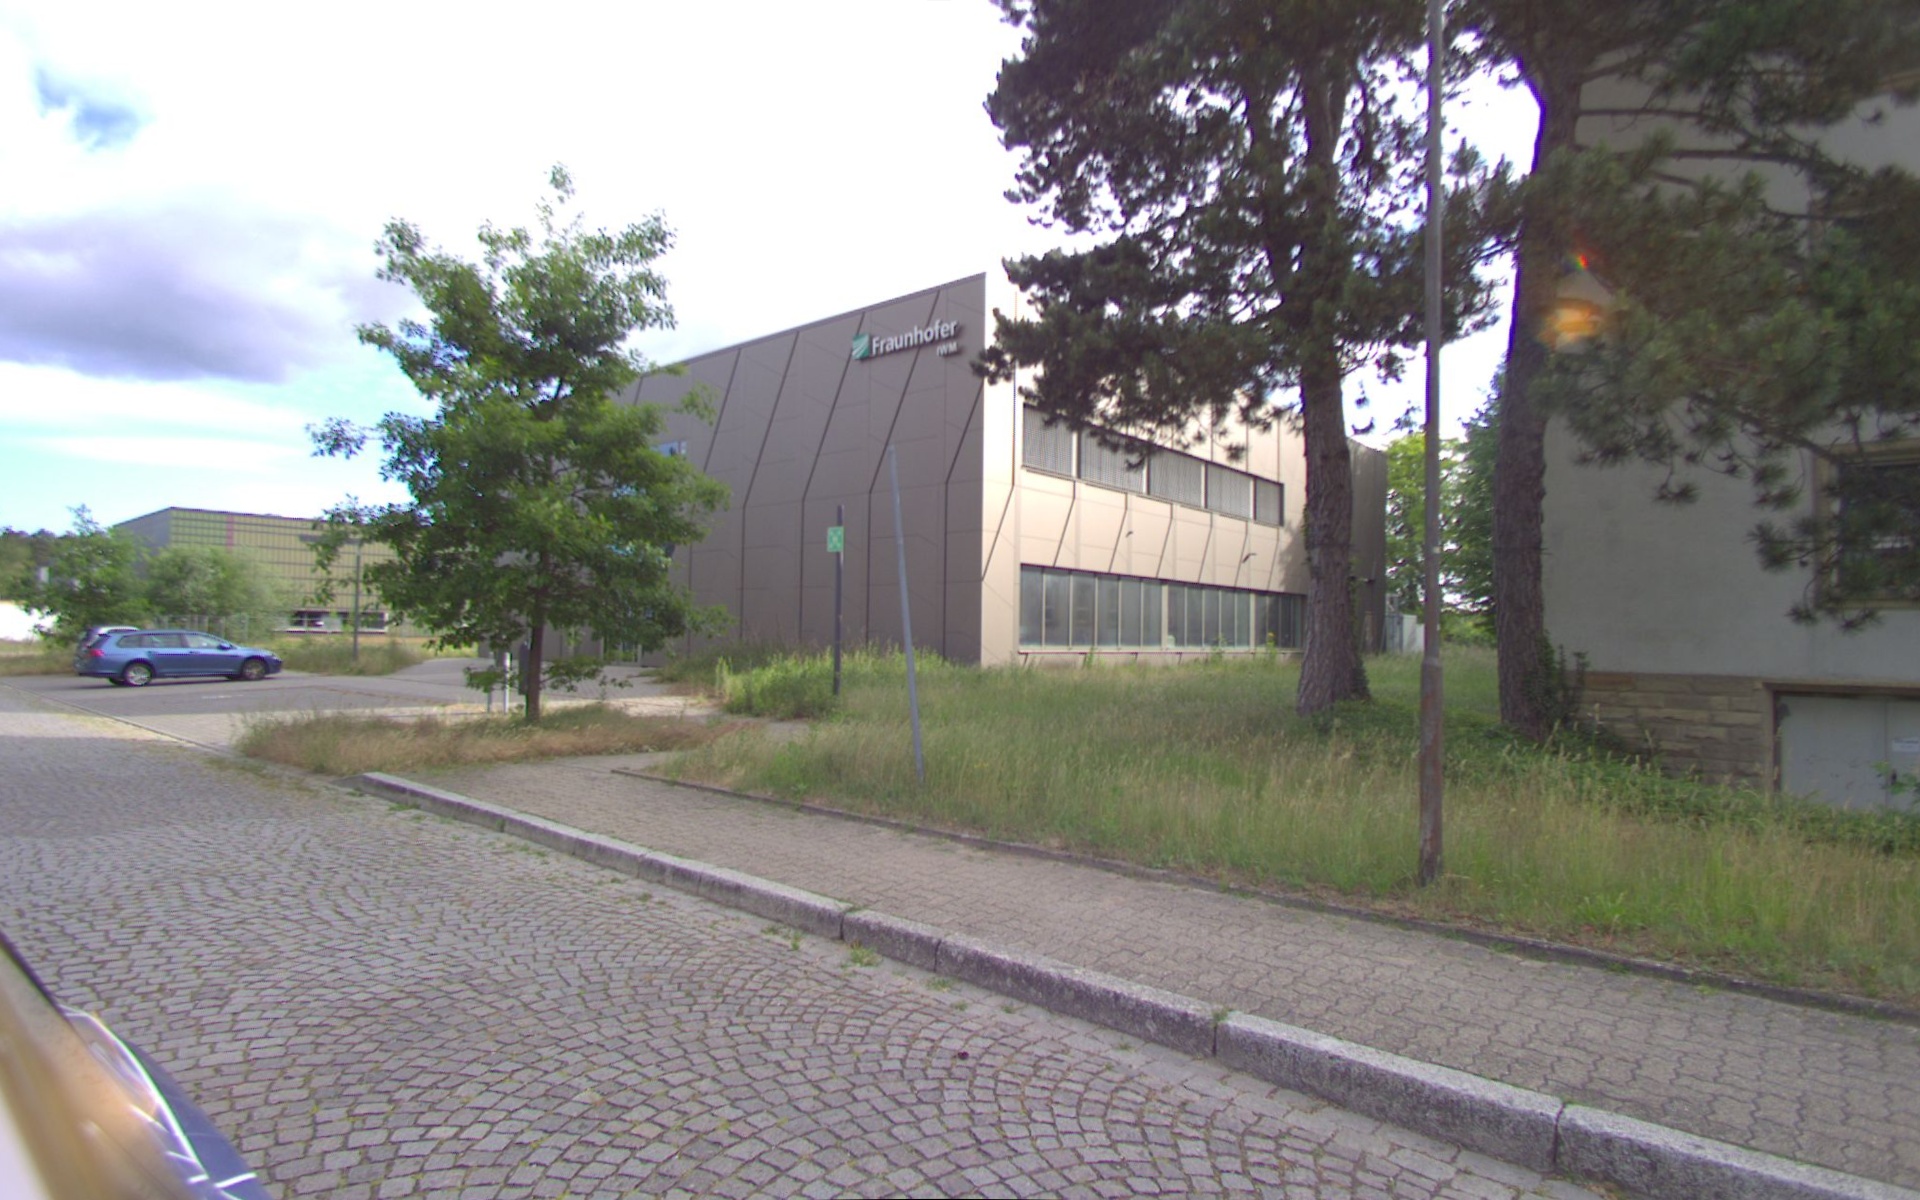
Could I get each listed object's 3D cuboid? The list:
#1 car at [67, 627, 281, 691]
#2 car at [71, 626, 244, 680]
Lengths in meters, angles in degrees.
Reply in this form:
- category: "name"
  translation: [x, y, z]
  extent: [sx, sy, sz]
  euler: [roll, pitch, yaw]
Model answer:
- category: "car"
  translation: [-21.366, 1.540, 27.657]
  extent: [1.714, 1.522, 4.350]
  euler: [-1, -1, 38]
- category: "car"
  translation: [-26.261, 1.672, 33.187]
  extent: [4.339, 1.558, 1.843]
  euler: [0, -1, -43]
